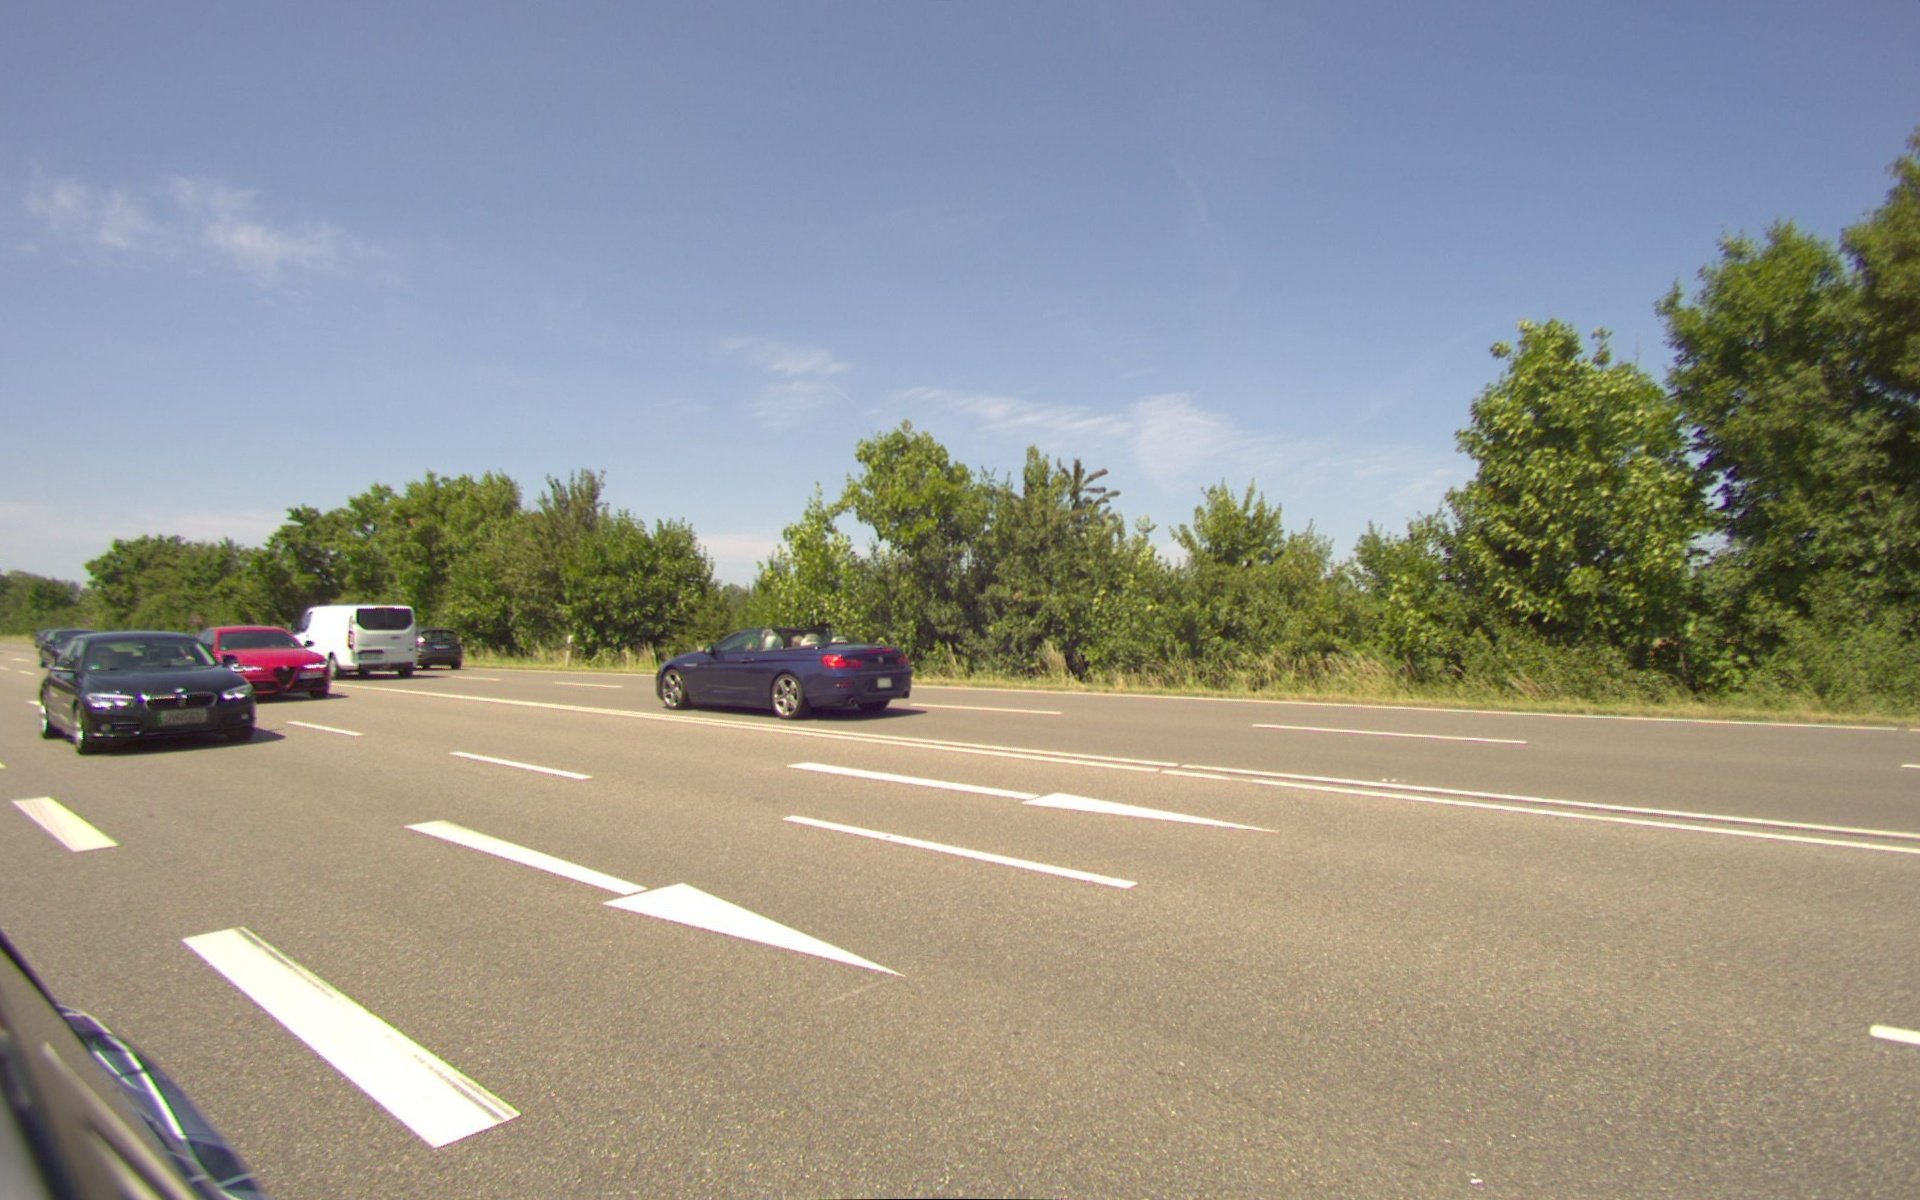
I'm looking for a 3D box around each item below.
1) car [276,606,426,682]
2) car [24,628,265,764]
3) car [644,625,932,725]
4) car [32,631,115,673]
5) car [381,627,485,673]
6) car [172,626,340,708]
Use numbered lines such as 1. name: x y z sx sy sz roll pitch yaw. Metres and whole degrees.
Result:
1. car: -16.919 1.201 28.004 5.044 1.932 1.887 -2 -3 38
2. car: -10.799 1.143 13.280 4.379 1.441 1.765 -2 -1 42
3. car: -2.790 1.056 15.642 4.763 1.289 1.786 -2 -1 41
4. car: -32.865 1.883 37.493 4.463 1.422 1.658 -1 -1 40
5. car: -18.393 1.710 35.235 4.339 1.472 1.642 -2 -2 39
6. car: -14.236 1.289 20.367 4.564 1.432 1.731 -2 -1 41
